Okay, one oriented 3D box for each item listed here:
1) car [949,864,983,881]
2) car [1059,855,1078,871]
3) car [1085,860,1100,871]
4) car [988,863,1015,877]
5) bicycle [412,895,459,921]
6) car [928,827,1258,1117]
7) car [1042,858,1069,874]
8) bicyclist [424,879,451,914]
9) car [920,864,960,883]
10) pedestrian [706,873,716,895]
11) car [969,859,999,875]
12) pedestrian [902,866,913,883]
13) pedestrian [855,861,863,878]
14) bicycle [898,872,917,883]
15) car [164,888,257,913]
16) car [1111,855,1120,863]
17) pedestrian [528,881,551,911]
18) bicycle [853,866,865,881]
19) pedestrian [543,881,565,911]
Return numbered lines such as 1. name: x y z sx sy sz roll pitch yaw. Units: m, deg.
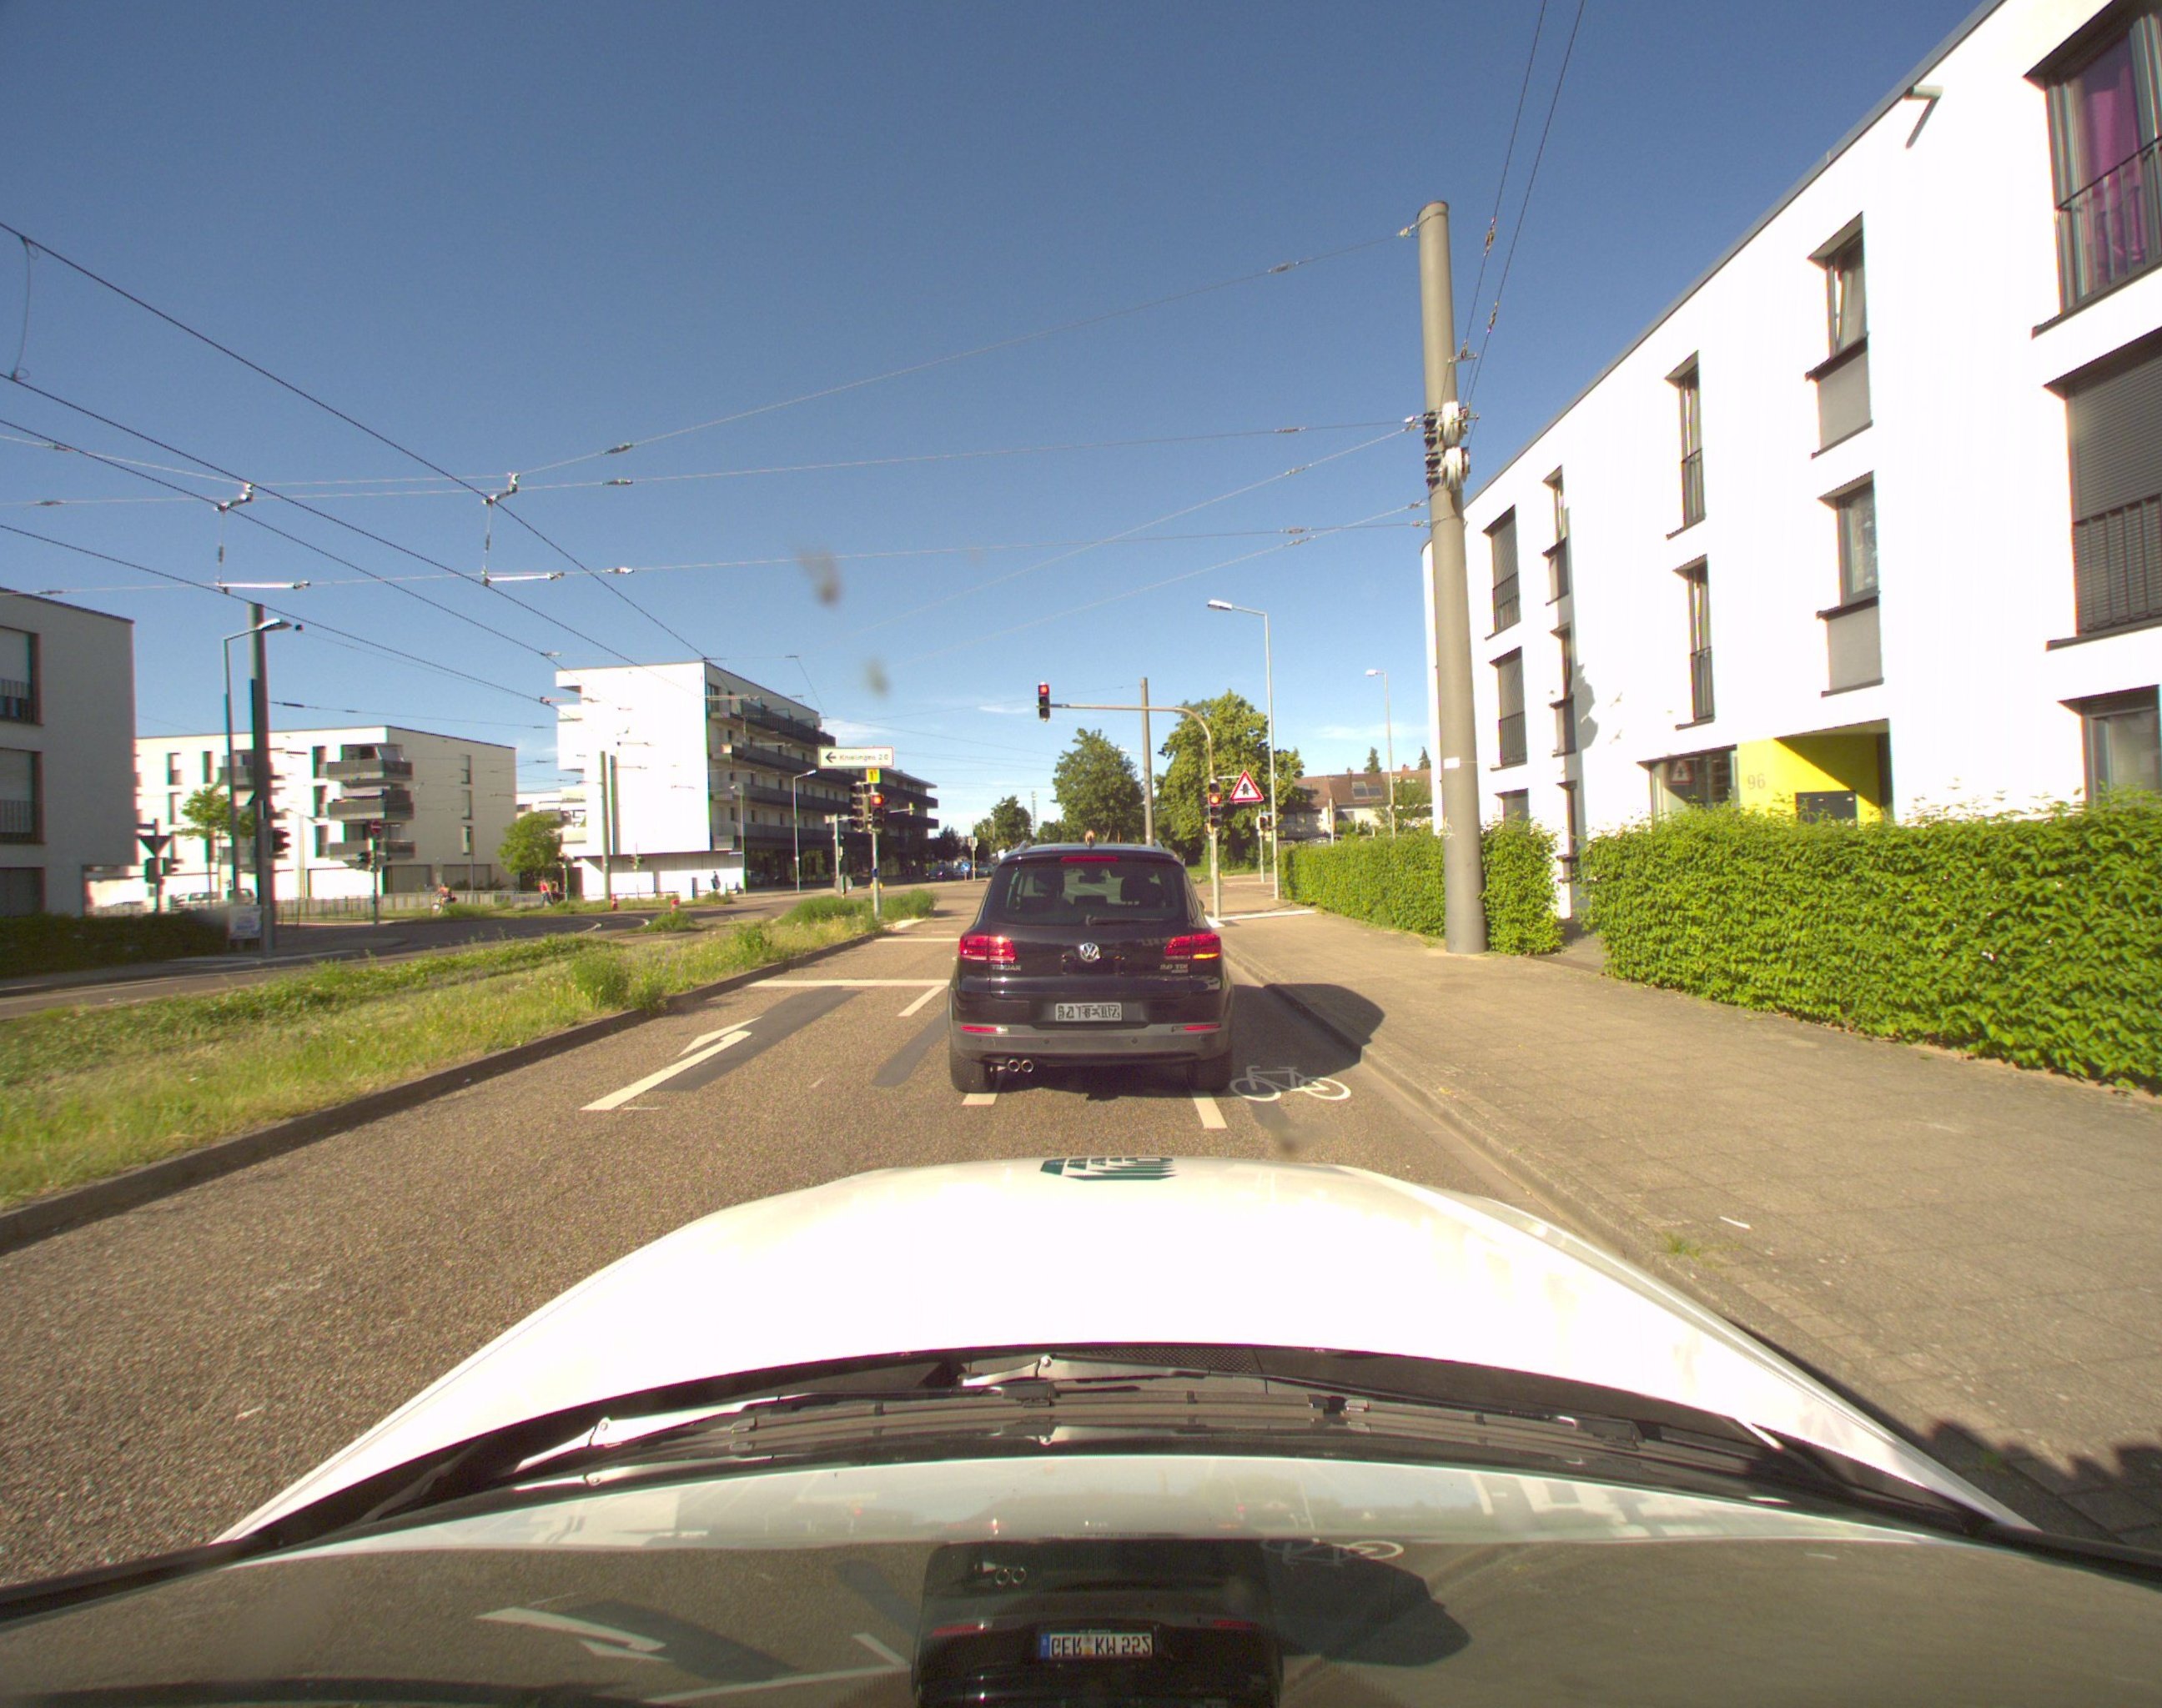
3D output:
1. car: -11.129 1.820 79.040 1.981 1.574 4.350 -1 -1 9
2. car: -1.496 1.074 98.697 1.855 1.720 3.690 -2 0 4
3. car: 1.824 1.807 129.804 1.984 1.836 4.005 0 -1 5
4. car: -8.877 1.766 91.489 1.981 1.574 4.350 -1 -1 9
5. bicycle: -30.756 2.564 38.826 0.818 1.124 1.858 0 -1 -4
6. car: 0.129 0.690 6.634 1.862 1.637 4.001 0 -1 2
7. car: -2.503 1.156 80.882 1.852 1.485 4.121 -3 0 9
8. bicyclist: -30.745 2.032 38.908 0.781 1.614 0.640 0 -1 -4
9. car: -12.403 1.706 71.914 1.980 1.574 4.353 -1 -1 11
10. pedestrian: -25.358 2.037 55.793 0.440 1.503 0.517 0 -1 -4
11. car: -10.174 1.351 85.538 1.981 1.574 4.350 -1 -1 9
12. pedestrian: -15.446 1.852 72.473 0.707 1.474 0.956 -1 -1 9
13. pedestrian: -20.497 1.436 75.211 0.641 1.509 0.596 0 -1 -1
14. bicycle: -15.449 2.075 72.511 0.766 0.989 2.438 -1 -1 9
15. car: -58.963 3.164 55.210 4.305 1.574 2.002 0 -1 4
16. car: 7.649 1.170 181.096 1.987 1.684 4.000 0 -1 0
17. pedestrian: -29.624 2.280 44.581 0.770 1.605 0.741 0 -1 -5
18. bicycle: -20.496 1.792 75.167 0.628 1.332 1.912 0 -1 -1
19. pedestrian: -28.687 2.271 44.326 0.770 1.605 0.741 0 -1 -5
